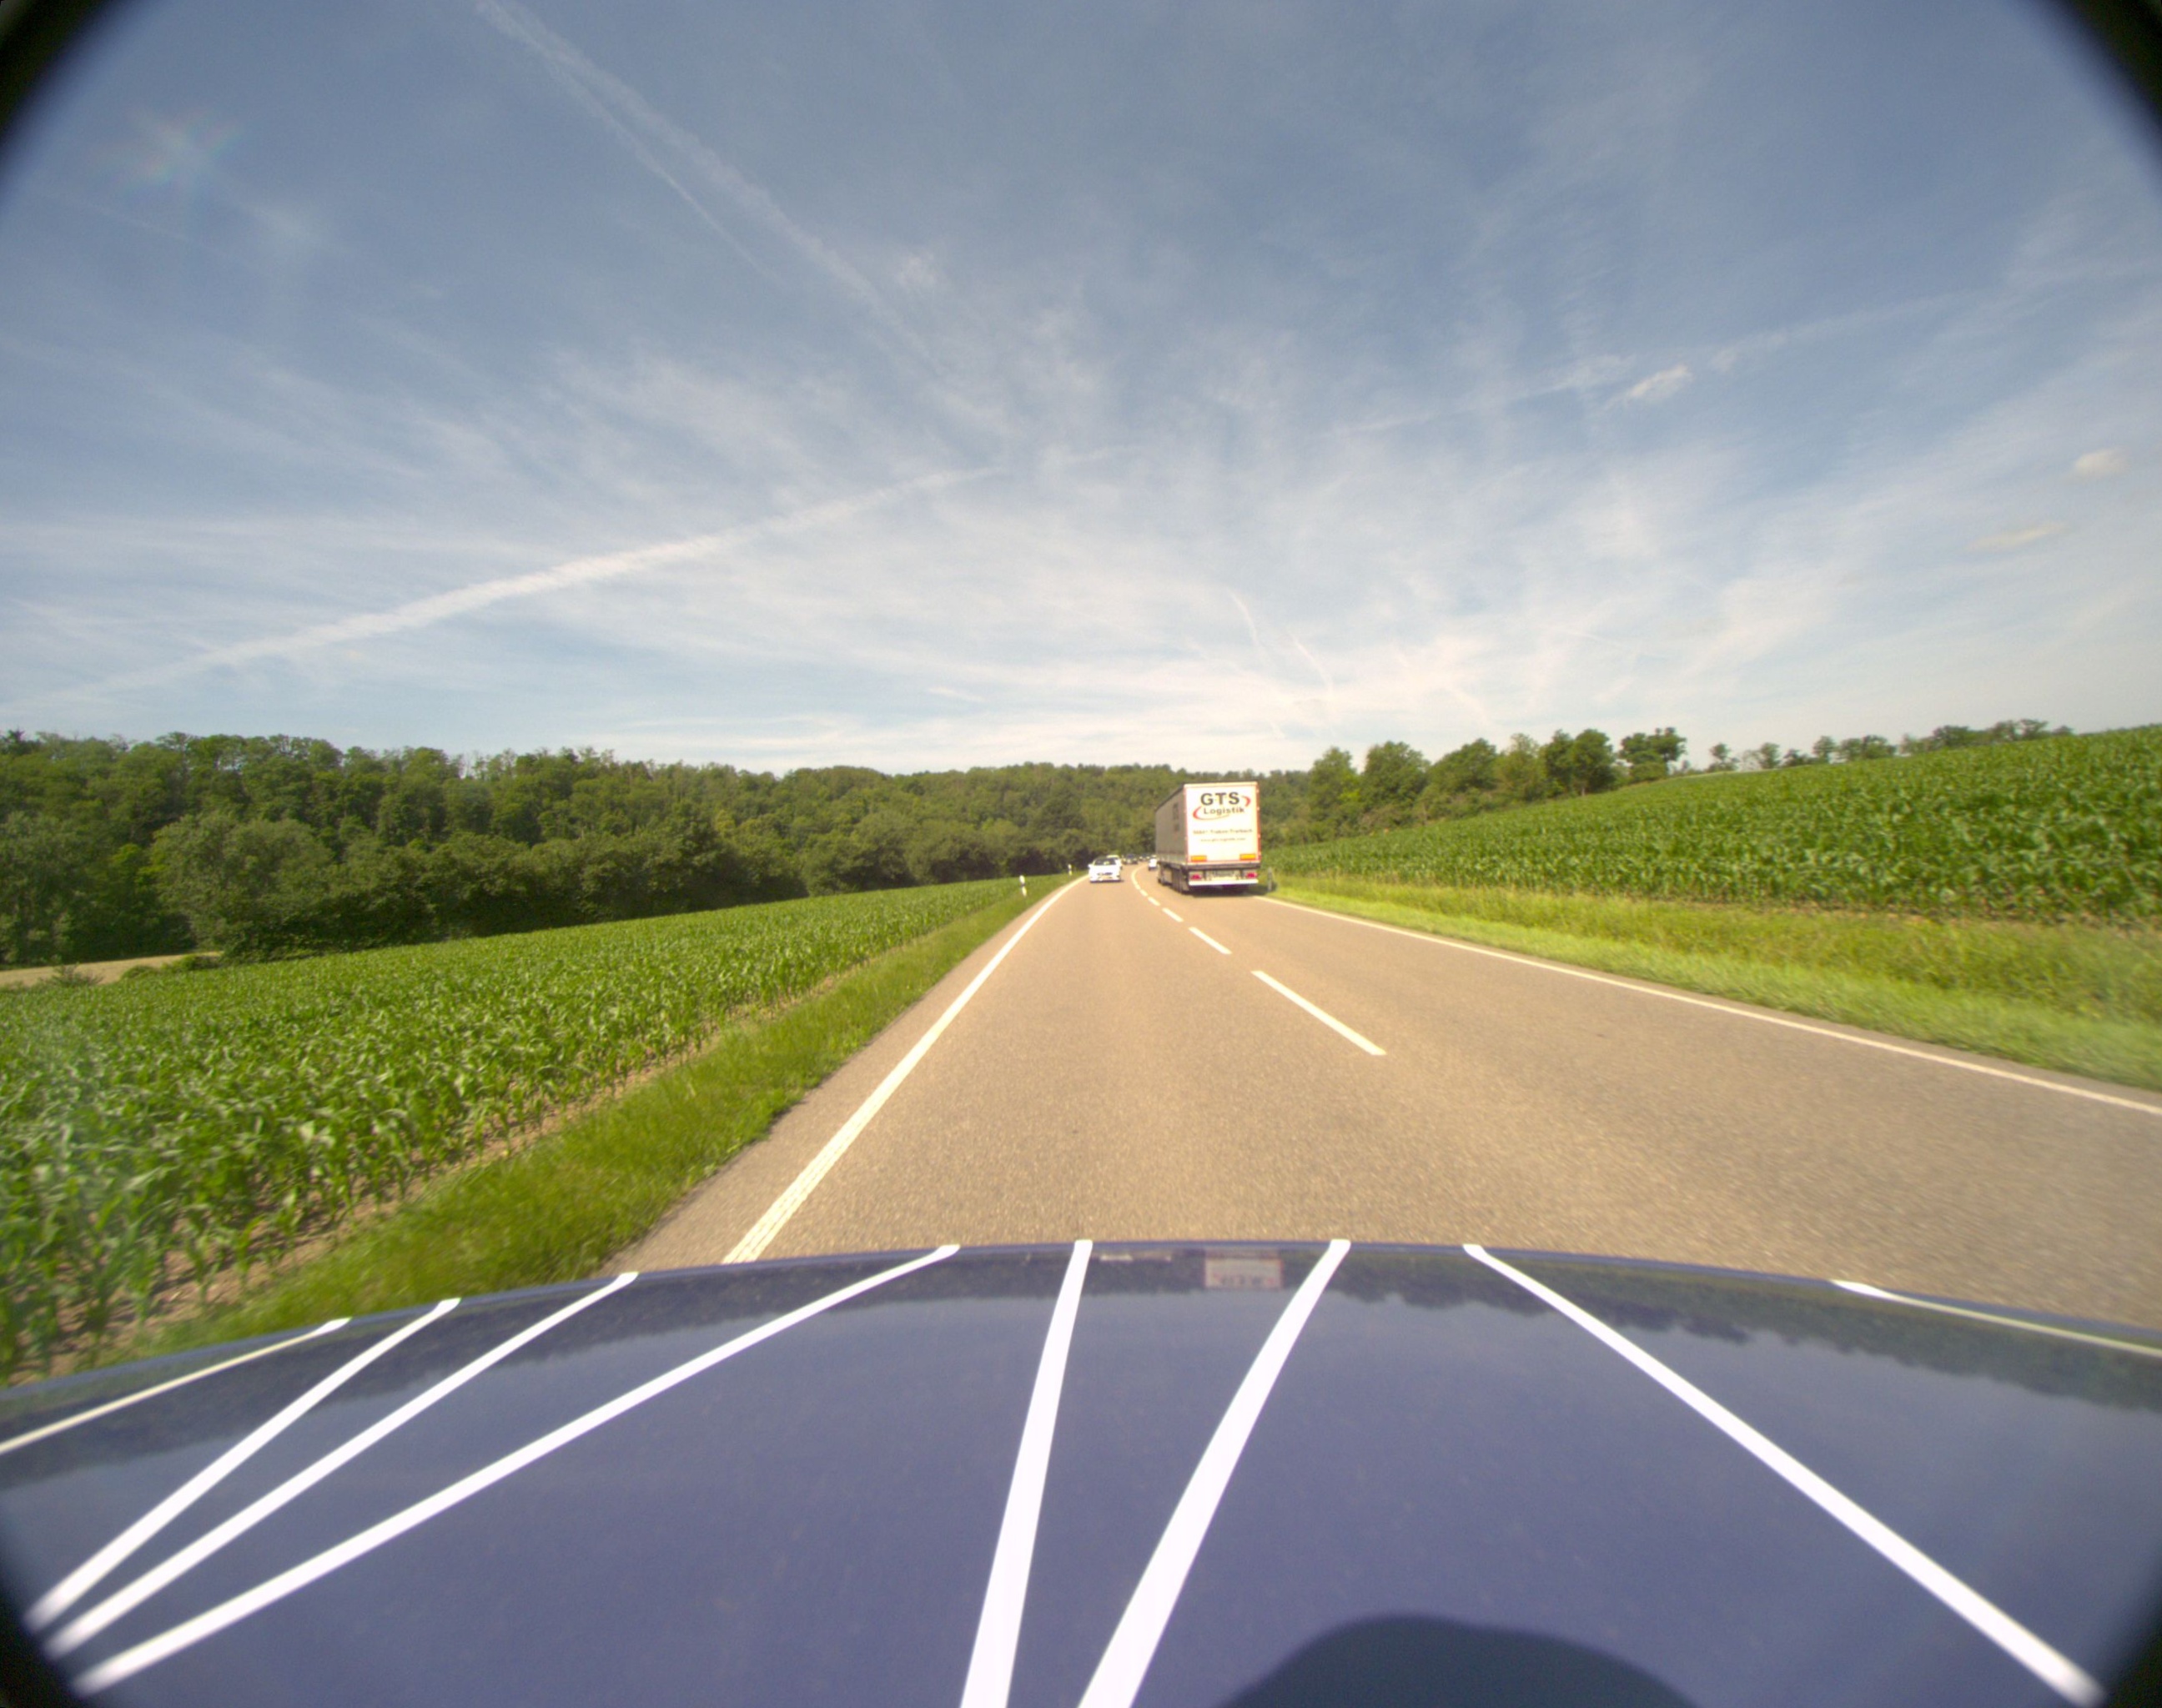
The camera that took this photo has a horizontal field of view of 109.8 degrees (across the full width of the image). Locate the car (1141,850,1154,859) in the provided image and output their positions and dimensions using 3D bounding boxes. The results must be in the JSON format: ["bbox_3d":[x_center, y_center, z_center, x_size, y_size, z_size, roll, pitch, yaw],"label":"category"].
[{"bbox_3d":[11.372,0.066,129.555,1.741,1.445,4.038,-2,1,11],"label":"car"}]

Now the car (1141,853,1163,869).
[{"bbox_3d":[6.664,0.615,71.504,1.732,1.432,4.177,-2,0,2],"label":"car"}]

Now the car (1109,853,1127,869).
[{"bbox_3d":[3.879,0.697,79.841,1.717,1.523,4.000,-3,1,4],"label":"car"}]

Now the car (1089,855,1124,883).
[{"bbox_3d":[1.592,0.844,45.694,1.742,1.445,4.037,-2,1,7],"label":"car"}]

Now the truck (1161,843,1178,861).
[{"bbox_3d":[12.345,-0.315,106.308,2.013,2.306,5.195,-2,0,9],"label":"truck"}]

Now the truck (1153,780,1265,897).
[{"bbox_3d":[5.177,-0.564,34.306,2.833,3.969,16.534,-1,0,2],"label":"truck"}]

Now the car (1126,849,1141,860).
[{"bbox_3d":[7.419,0.068,107.739,1.741,1.445,4.038,-2,1,9],"label":"car"}]
